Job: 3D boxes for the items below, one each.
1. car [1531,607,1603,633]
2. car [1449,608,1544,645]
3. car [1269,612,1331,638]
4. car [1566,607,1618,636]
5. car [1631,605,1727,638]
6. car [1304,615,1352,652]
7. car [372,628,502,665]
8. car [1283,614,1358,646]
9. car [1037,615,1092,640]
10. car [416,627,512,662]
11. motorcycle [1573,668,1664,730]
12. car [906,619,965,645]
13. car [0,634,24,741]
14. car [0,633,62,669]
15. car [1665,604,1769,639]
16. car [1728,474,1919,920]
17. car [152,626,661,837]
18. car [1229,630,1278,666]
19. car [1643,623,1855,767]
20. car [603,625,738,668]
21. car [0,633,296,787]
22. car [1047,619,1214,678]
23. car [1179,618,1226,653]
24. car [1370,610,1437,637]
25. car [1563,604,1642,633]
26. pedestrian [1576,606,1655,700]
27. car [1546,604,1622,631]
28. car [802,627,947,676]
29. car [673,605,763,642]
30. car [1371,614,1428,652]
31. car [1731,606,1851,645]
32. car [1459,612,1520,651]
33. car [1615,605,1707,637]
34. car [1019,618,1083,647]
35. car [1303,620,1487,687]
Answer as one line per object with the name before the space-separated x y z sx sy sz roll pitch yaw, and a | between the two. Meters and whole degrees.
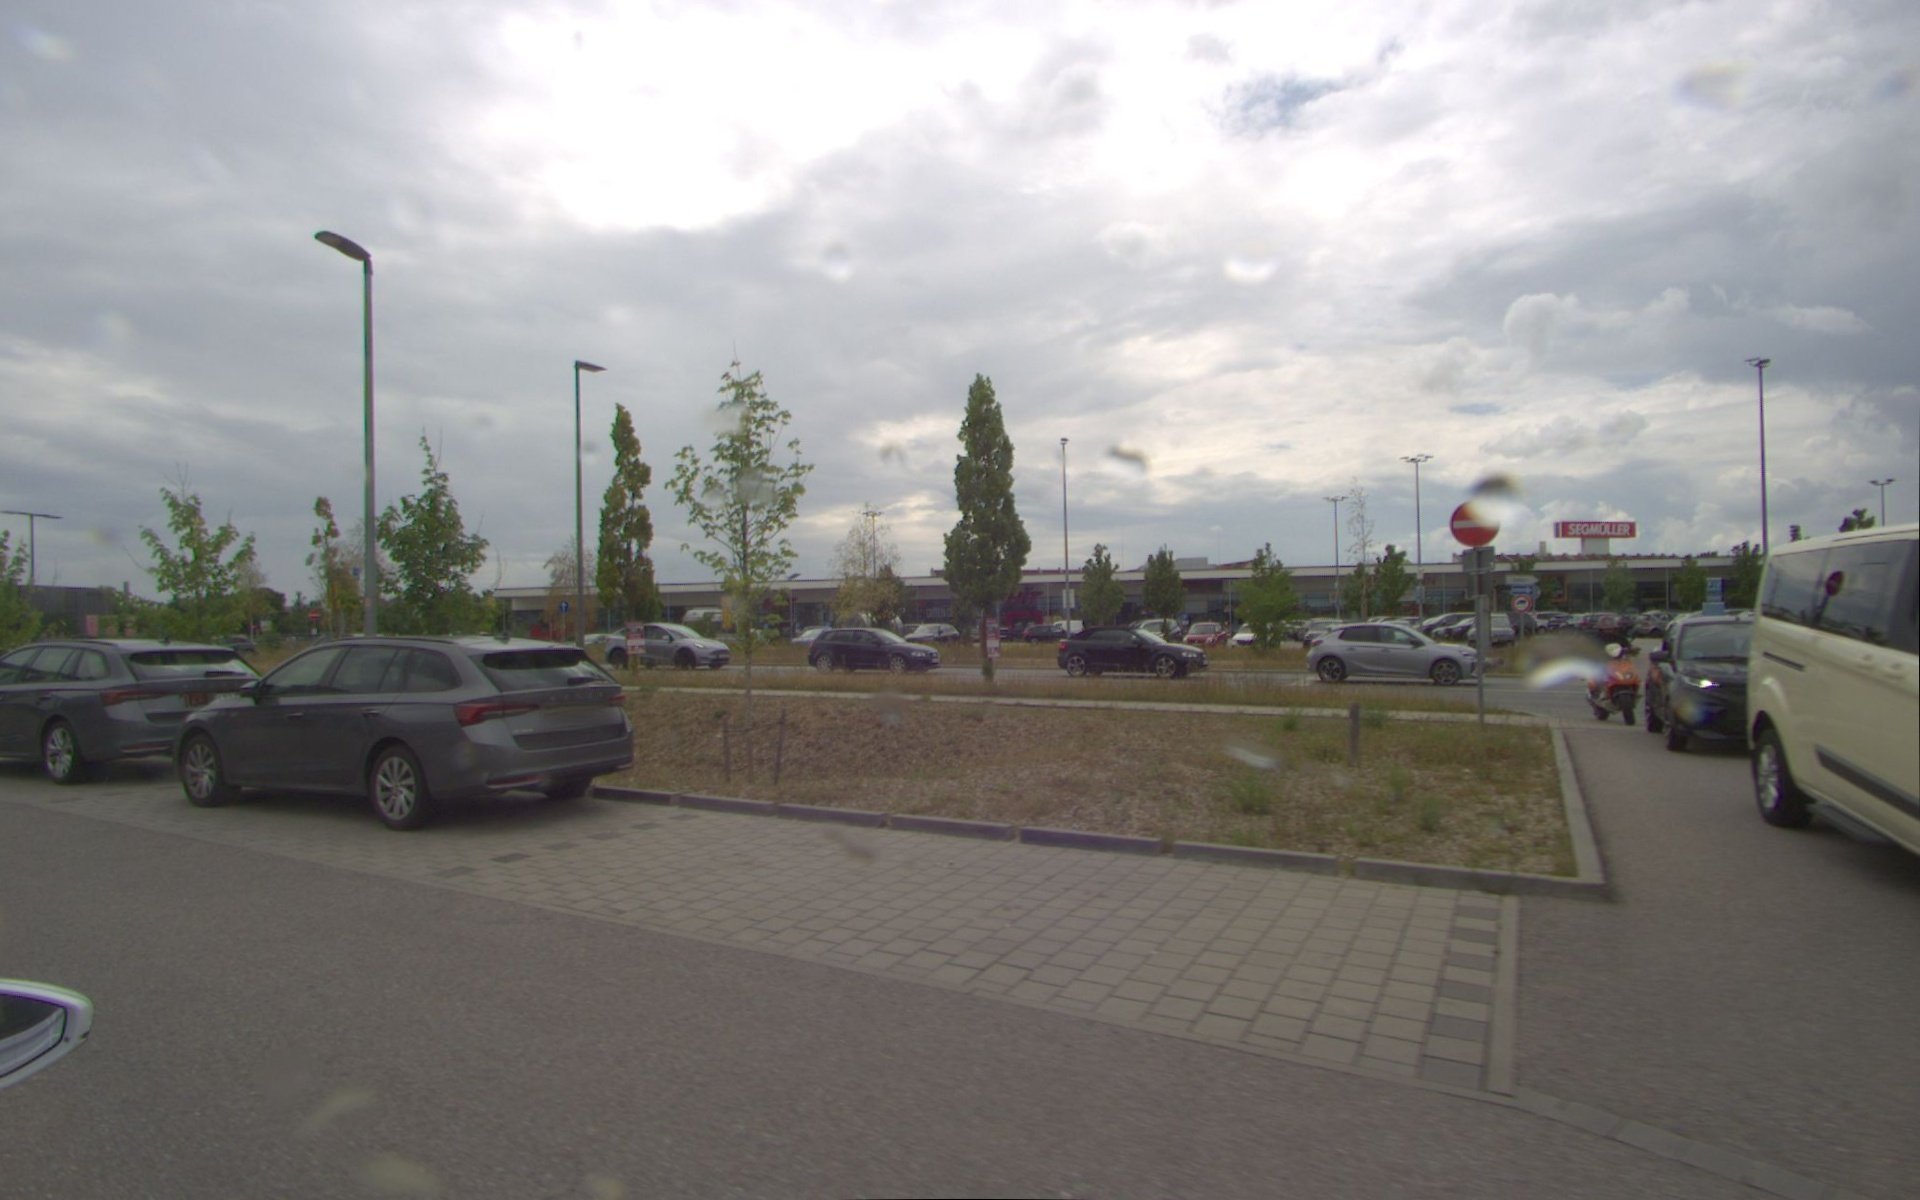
car | 44.858 1.481 74.026 4.108 1.862 1.998 -1 0 12
car | 28.839 1.414 53.957 4.108 1.862 1.998 -1 0 12
car | 24.991 1.854 73.805 4.108 1.862 1.998 -1 0 12
car | 36.695 1.210 58.196 1.967 1.560 4.146 -1 0 24
car | 41.990 1.249 58.586 4.108 1.862 1.998 -1 0 12
car | 16.992 1.515 46.384 1.965 1.560 4.047 -1 0 19
car | -20.881 1.837 40.045 4.471 1.413 1.768 -1 -1 10
car | 22.521 1.868 62.685 4.108 1.862 1.998 -1 0 12
car | 8.246 2.179 78.670 4.108 1.862 1.998 -1 0 13
car | -22.052 1.969 44.537 3.854 1.479 1.656 -1 0 22
motorcycle | 9.440 1.393 14.430 0.803 0.783 2.022 0 -3 25
car | -1.823 2.359 74.381 4.106 1.862 1.999 -1 0 9
car | -15.414 1.229 14.155 4.039 1.488 1.753 -1 -2 24
car | -39.970 2.116 41.538 4.472 1.413 1.768 -1 -1 12
car | 41.384 1.181 54.837 4.108 1.862 1.998 -1 0 12
car | 5.763 0.463 5.018 1.968 2.113 5.213 0 -1 25
car | -4.936 0.997 8.848 4.405 1.488 1.752 -1 -2 26
car | 14.148 2.267 48.107 1.833 1.521 4.062 -1 0 22
car | 8.635 0.943 11.195 1.445 1.354 3.148 -1 -1 31
car | -10.201 1.622 35.252 4.482 1.413 1.764 -1 -1 23
car | -9.880 1.135 11.430 4.402 1.488 1.753 -1 -2 24
car | 4.703 1.313 27.675 4.216 1.518 1.850 -1 -1 27
car | 12.035 1.716 49.511 1.874 1.560 4.047 -1 0 19
car | 32.256 1.715 72.967 4.108 1.862 1.998 -1 0 12
car | 43.829 1.259 68.381 4.108 1.862 1.998 -1 0 12
pedestrian | 9.426 0.760 14.432 0.793 1.297 0.897 0 -3 24
car | 44.384 1.257 71.312 4.108 1.862 1.998 -1 0 12
car | -2.638 1.557 30.887 4.148 1.413 1.764 -1 -1 23
car | -14.849 1.422 61.827 2.304 2.150 5.574 -1 0 27
car | 19.726 1.460 45.121 1.965 1.560 4.047 -1 0 19
car | 41.039 1.253 49.575 4.108 1.862 1.998 -1 0 12
car | 22.874 1.317 43.381 1.741 1.560 3.756 -1 0 19
car | 42.594 1.270 60.915 4.108 1.862 1.998 -1 0 12
car | 6.180 2.189 67.666 4.108 1.862 1.998 -1 0 12
car | 10.497 1.249 24.202 3.939 1.479 1.822 -1 0 29
